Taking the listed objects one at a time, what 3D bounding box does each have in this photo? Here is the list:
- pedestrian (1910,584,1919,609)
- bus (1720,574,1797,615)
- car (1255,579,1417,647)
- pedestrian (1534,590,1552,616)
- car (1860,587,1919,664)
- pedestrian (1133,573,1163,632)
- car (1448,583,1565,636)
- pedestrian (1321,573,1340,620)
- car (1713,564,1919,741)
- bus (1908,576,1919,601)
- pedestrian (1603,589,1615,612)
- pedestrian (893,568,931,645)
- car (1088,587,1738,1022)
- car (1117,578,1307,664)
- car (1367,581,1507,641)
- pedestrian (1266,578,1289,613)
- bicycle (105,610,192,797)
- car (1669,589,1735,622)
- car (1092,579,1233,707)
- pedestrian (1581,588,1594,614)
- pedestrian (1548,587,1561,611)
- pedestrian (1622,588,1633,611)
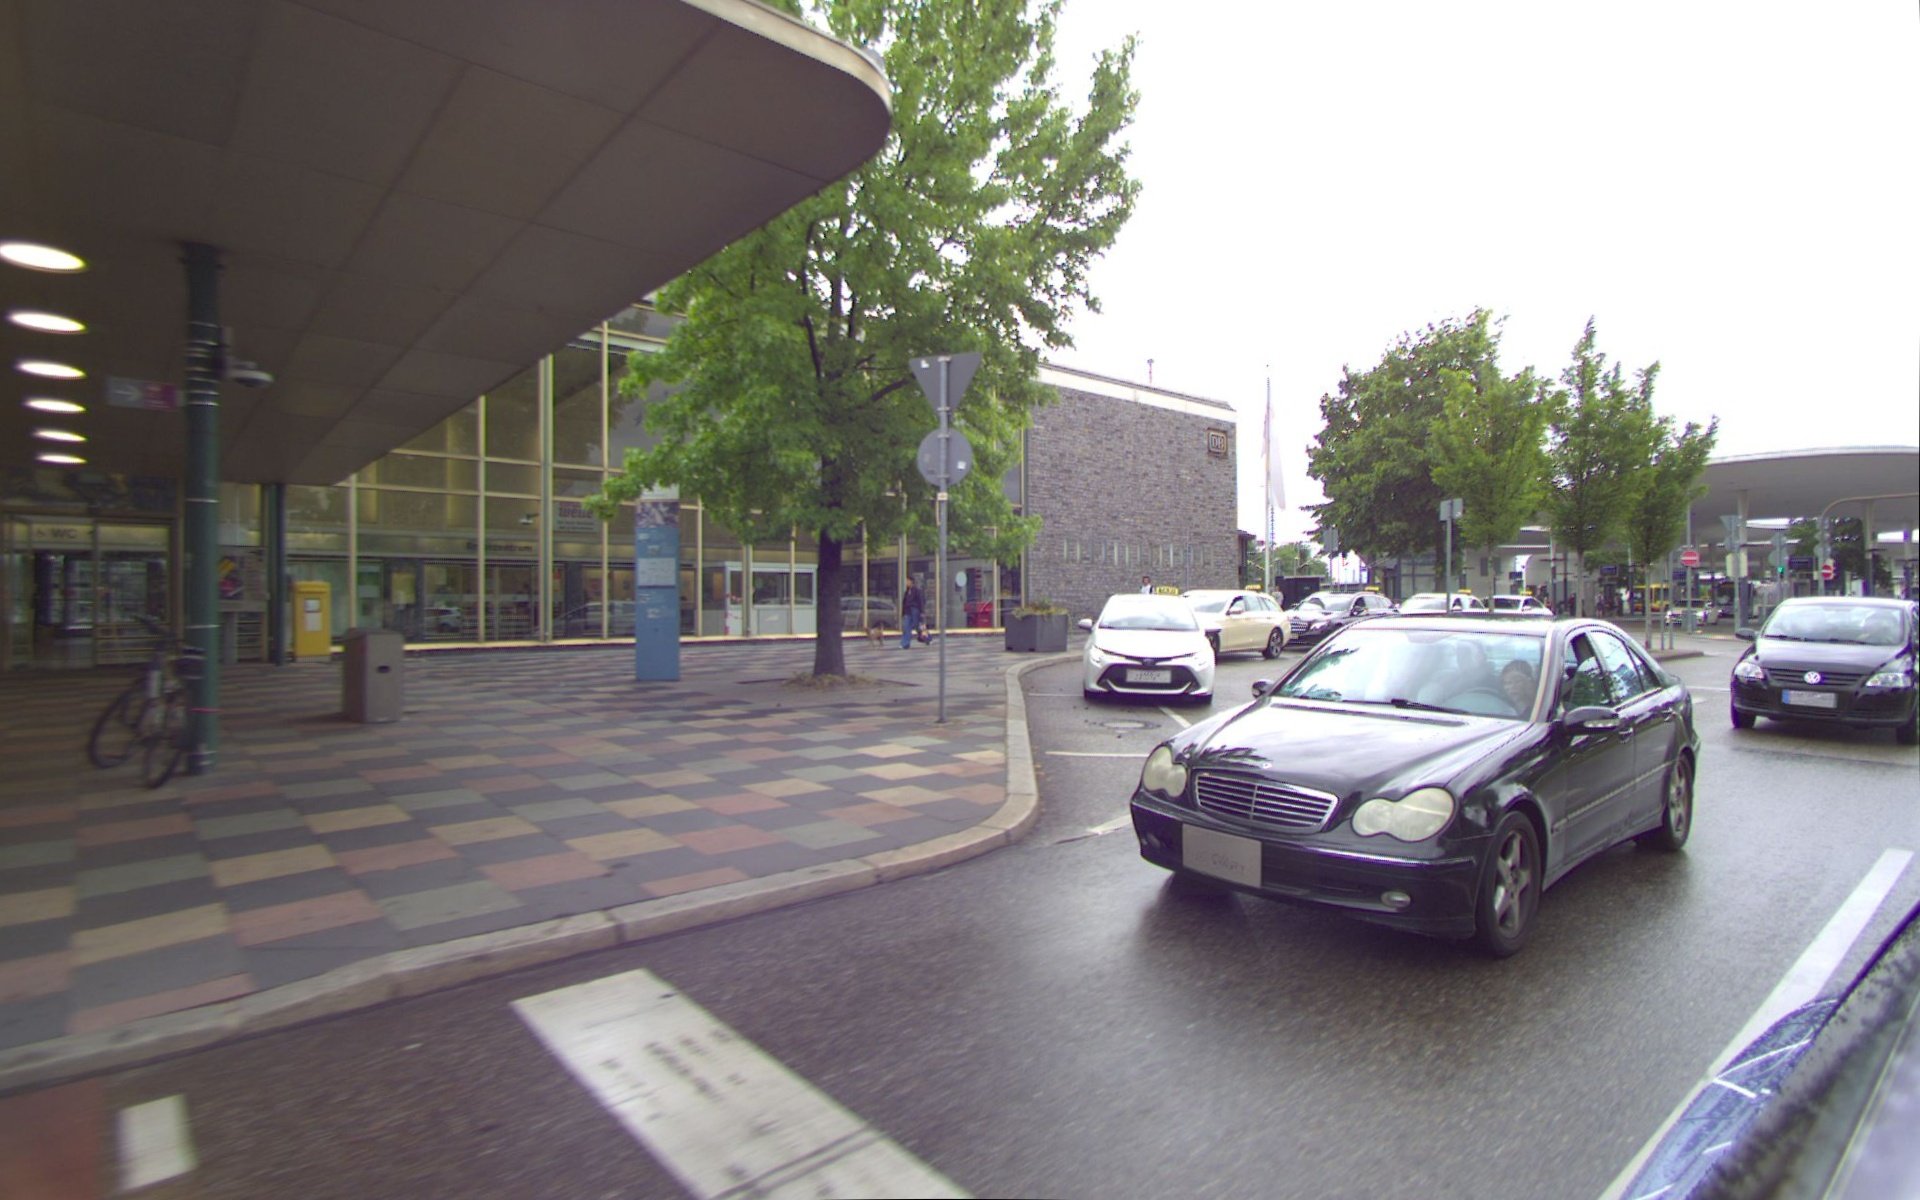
[{"bbox_3d":[68.741,-0.264,72.761,0.441,1.786,0.532,1,1,25],"label":"pedestrian"},{"bbox_3d":[66.999,-0.418,84.783,11.712,3.120,2.875,1,1,-41],"label":"bus"},{"bbox_3d":[9.939,0.301,26.557,4.873,1.619,1.996,0,0,-42],"label":"car"},{"bbox_3d":[36.375,0.191,63.154,0.725,1.615,0.643,0,2,-26],"label":"pedestrian"},{"bbox_3d":[21.588,0.531,22.486,3.978,1.578,1.810,-1,2,-40],"label":"car"},{"bbox_3d":[5.479,0.059,29.409,0.640,1.688,0.770,1,1,28],"label":"pedestrian"},{"bbox_3d":[18.628,0.266,34.407,4.817,1.619,1.884,-1,2,-41],"label":"car"},{"bbox_3d":[17.527,-0.174,47.899,0.787,2.191,0.718,1,1,19],"label":"pedestrian"},{"bbox_3d":[10.556,0.491,11.936,4.086,1.723,1.874,0,2,-42],"label":"car"},{"bbox_3d":[122.459,-1.431,127.676,3.569,3.137,10.598,1,1,40],"label":"bus"},{"bbox_3d":[42.068,0.030,65.602,0.525,1.533,0.479,0,1,-37],"label":"pedestrian"},{"bbox_3d":[-1.038,0.123,22.242,0.710,1.646,0.796,1,1,5],"label":"pedestrian"},{"bbox_3d":[2.805,0.698,5.678,4.376,1.483,1.697,-1,2,-42],"label":"car"},{"bbox_3d":[5.588,0.377,22.018,1.992,1.619,4.884,3,2,41],"label":"car"},{"bbox_3d":[14.560,0.298,30.777,4.871,1.619,1.998,0,2,-41],"label":"car"},{"bbox_3d":[15.043,-0.223,47.906,0.768,1.599,0.699,2,2,43],"label":"pedestrian"},{"bbox_3d":[-5.555,0.627,6.899,0.413,1.069,1.831,0,1,-40],"label":"bicycle"},{"bbox_3d":[41.420,0.250,56.456,4.462,1.702,1.997,-1,2,-41],"label":"car"},{"bbox_3d":[2.929,0.484,15.071,1.735,1.565,4.764,0,1,10],"label":"car"},{"bbox_3d":[38.439,0.064,62.000,0.470,1.533,0.535,0,1,-36],"label":"pedestrian"},{"bbox_3d":[37.993,-0.071,64.706,0.469,1.533,0.536,1,1,-6],"label":"pedestrian"},{"bbox_3d":[44.957,-0.009,68.186,0.525,1.533,0.479,0,1,-37],"label":"pedestrian"}]
